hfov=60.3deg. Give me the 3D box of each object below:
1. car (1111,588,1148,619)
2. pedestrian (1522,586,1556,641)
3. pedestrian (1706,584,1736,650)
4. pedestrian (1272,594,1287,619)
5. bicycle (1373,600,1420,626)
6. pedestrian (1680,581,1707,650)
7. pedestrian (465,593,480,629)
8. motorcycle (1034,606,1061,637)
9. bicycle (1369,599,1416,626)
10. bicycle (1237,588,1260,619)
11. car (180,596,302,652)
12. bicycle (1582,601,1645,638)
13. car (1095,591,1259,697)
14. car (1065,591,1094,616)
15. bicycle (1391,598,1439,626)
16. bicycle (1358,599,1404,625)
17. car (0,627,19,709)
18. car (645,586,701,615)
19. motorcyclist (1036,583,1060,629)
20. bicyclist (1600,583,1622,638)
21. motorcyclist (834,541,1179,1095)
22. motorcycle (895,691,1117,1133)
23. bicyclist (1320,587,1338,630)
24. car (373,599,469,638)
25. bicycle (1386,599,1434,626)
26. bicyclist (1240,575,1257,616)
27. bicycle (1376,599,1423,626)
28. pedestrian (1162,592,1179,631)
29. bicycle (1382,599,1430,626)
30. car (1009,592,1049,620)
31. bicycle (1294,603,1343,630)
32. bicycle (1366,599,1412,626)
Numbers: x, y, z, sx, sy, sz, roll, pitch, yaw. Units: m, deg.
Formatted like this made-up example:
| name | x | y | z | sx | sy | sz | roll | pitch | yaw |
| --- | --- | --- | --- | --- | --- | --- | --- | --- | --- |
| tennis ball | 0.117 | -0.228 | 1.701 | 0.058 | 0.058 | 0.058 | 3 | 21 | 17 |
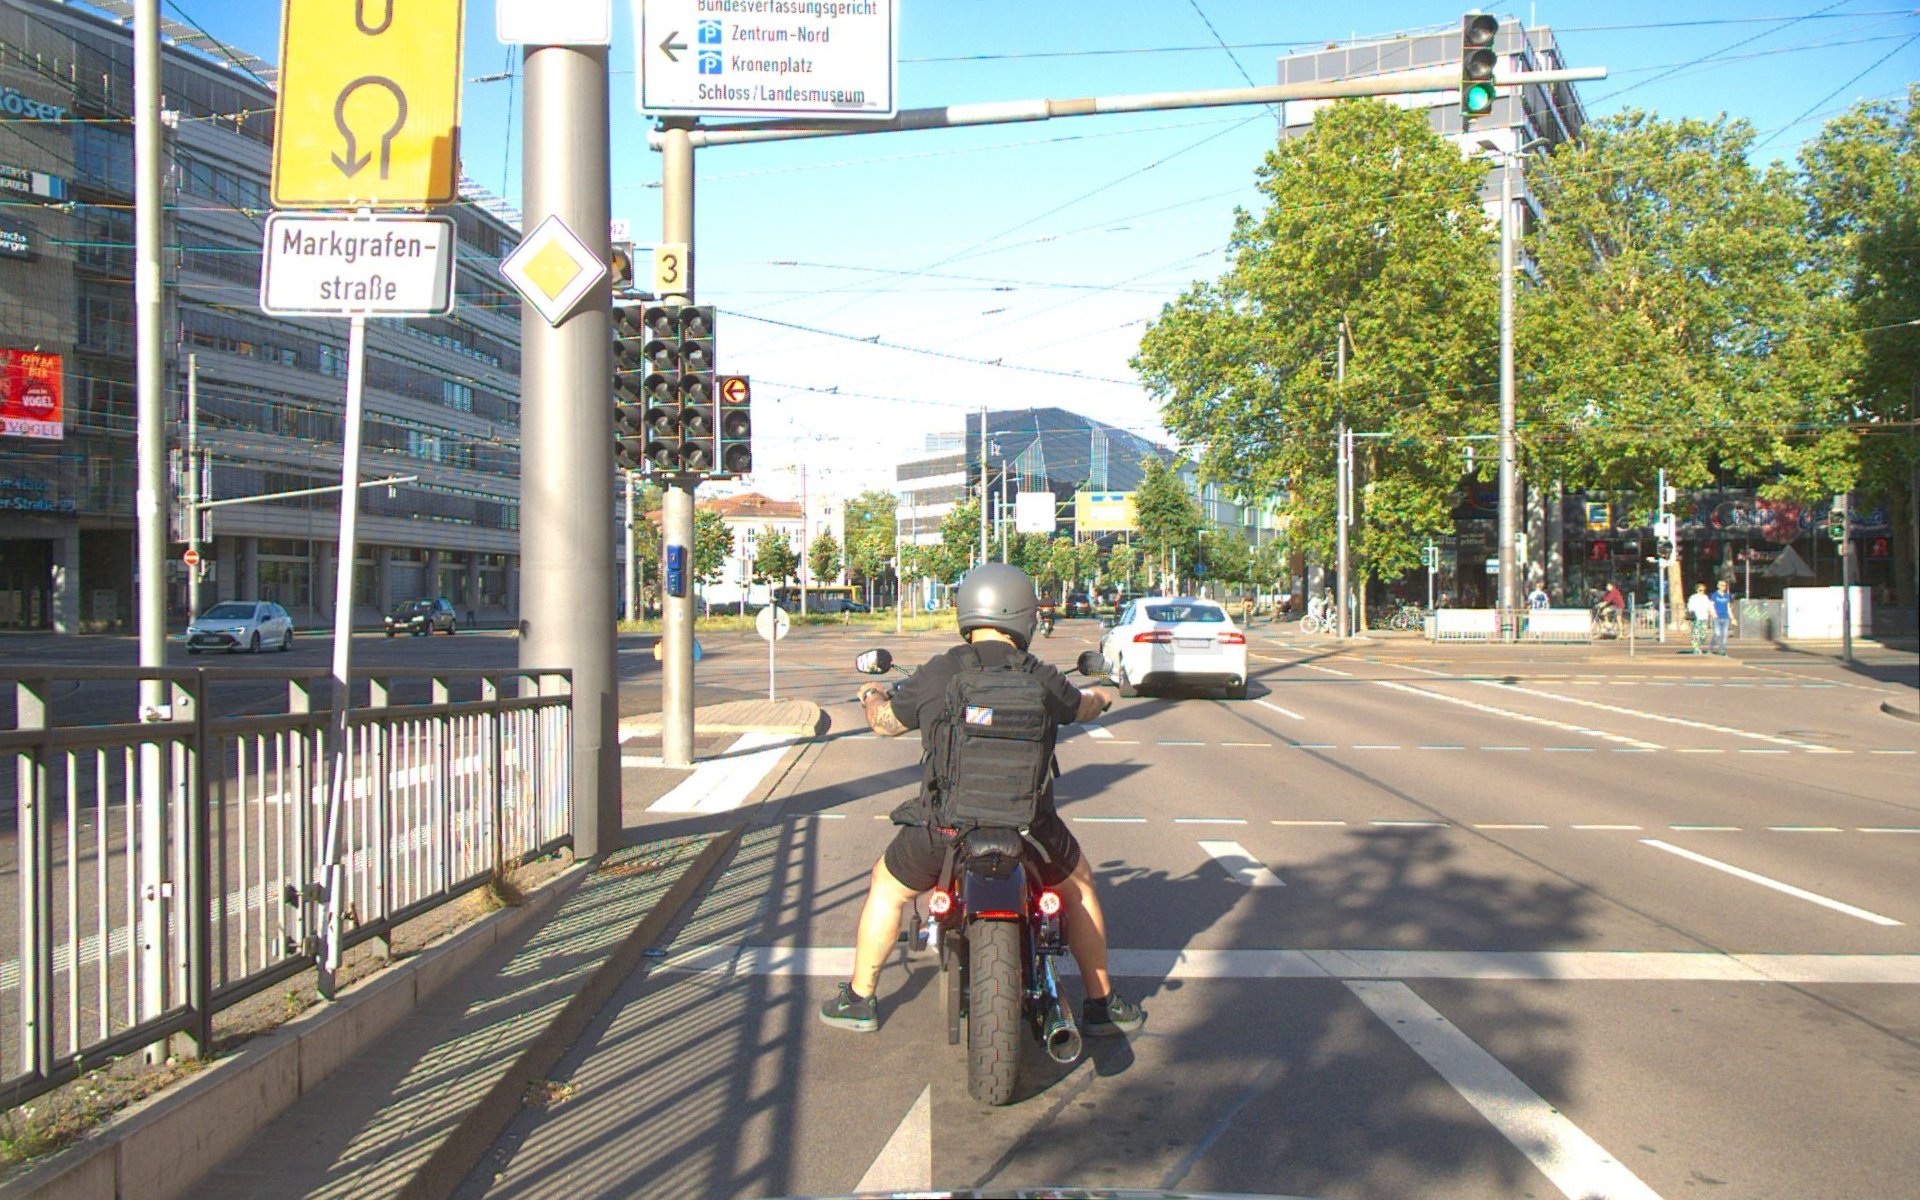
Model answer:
| name | x | y | z | sx | sy | sz | roll | pitch | yaw |
| --- | --- | --- | --- | --- | --- | --- | --- | --- | --- |
| car | 10.030 | 0.165 | 97.789 | 1.694 | 1.762 | 4.616 | 1 | 1 | 11 |
| pedestrian | 18.714 | 0.443 | 53.429 | 0.816 | 1.734 | 0.759 | 1 | -1 | -1 |
| pedestrian | 17.598 | 0.393 | 38.253 | 0.554 | 1.505 | 0.702 | 1 | -1 | 20 |
| pedestrian | 17.579 | 0.363 | 90.971 | 0.802 | 1.337 | 0.638 | 1 | -1 | 8 |
| bicycle | 18.137 | 0.536 | 68.774 | 1.842 | 1.065 | 0.360 | 1 | -1 | -2 |
| pedestrian | 16.966 | 0.359 | 38.263 | 0.554 | 1.559 | 0.702 | 1 | -1 | 22 |
| pedestrian | -27.906 | 0.630 | 94.710 | 0.617 | 2.049 | 0.754 | 1 | -1 | -1 |
| motorcycle | 3.132 | 0.759 | 59.264 | 0.787 | 1.069 | 2.375 | 1 | -1 | -1 |
| bicycle | 18.120 | 0.527 | 69.259 | 1.842 | 1.064 | 0.360 | 1 | 0 | -2 |
| bicycle | 13.094 | 0.161 | 75.106 | 0.710 | 1.391 | 2.918 | 1 | -1 | 3 |
| car | -20.288 | 0.644 | 46.857 | 1.789 | 1.455 | 4.525 | 0 | 0 | -5 |
| bicycle | 22.488 | 0.681 | 56.913 | 2.001 | 1.235 | 0.421 | 1 | -1 | -1 |
| car | 3.183 | 0.604 | 25.081 | 1.767 | 1.455 | 4.451 | 0 | 0 | -2 |
| car | 8.624 | 0.234 | 119.023 | 1.765 | 1.708 | 4.044 | 1 | -1 | 9 |
| bicycle | 18.150 | 0.473 | 65.989 | 1.842 | 1.065 | 0.360 | 1 | -1 | -2 |
| bicycle | 18.046 | 0.525 | 70.909 | 1.842 | 1.064 | 0.360 | 1 | 0 | -2 |
| car | -14.508 | 0.901 | 22.438 | 2.835 | 1.081 | 1.235 | 1 | -1 | -22 |
| car | -15.854 | 0.032 | 91.487 | 1.712 | 1.550 | 4.003 | 1 | -1 | 11 |
| motorcyclist | 3.144 | 0.226 | 59.004 | 0.780 | 1.607 | 0.529 | 1 | -1 | -2 |
| bicyclist | 22.391 | 0.365 | 56.923 | 0.572 | 1.870 | 0.402 | 1 | -1 | -1 |
| motorcyclist | 0.130 | 0.636 | 5.294 | 1.009 | 1.621 | 0.873 | 0 | 0 | -1 |
| motorcycle | 0.109 | 0.911 | 5.610 | 0.588 | 1.054 | 2.233 | 1 | 0 | -1 |
| bicyclist | 14.591 | 0.343 | 65.392 | 0.673 | 1.702 | 0.541 | 0 | -1 | 18 |
| car | -21.167 | 0.719 | 65.129 | 1.786 | 1.455 | 4.244 | 1 | -1 | 11 |
| bicycle | 18.177 | 0.493 | 66.772 | 1.842 | 1.065 | 0.360 | 1 | -1 | -2 |
| bicyclist | 13.130 | -0.185 | 75.302 | 0.682 | 1.840 | 0.729 | 1 | -1 | 3 |
| bicycle | 18.118 | 0.529 | 68.141 | 1.842 | 1.064 | 0.360 | 1 | 0 | -2 |
| pedestrian | 8.753 | 0.483 | 68.844 | 0.576 | 1.584 | 0.488 | 1 | -1 | -9 |
| bicycle | 18.234 | 0.515 | 67.588 | 1.842 | 1.065 | 0.360 | 1 | -1 | -2 |
| car | 3.811 | 0.361 | 91.074 | 1.695 | 1.482 | 4.421 | 1 | -1 | 9 |
| bicycle | 14.196 | 0.665 | 65.510 | 1.831 | 1.062 | 0.537 | 0 | -1 | 18 |
| bicycle | 18.101 | 0.525 | 69.759 | 1.842 | 1.064 | 0.360 | 1 | 0 | -2 |
